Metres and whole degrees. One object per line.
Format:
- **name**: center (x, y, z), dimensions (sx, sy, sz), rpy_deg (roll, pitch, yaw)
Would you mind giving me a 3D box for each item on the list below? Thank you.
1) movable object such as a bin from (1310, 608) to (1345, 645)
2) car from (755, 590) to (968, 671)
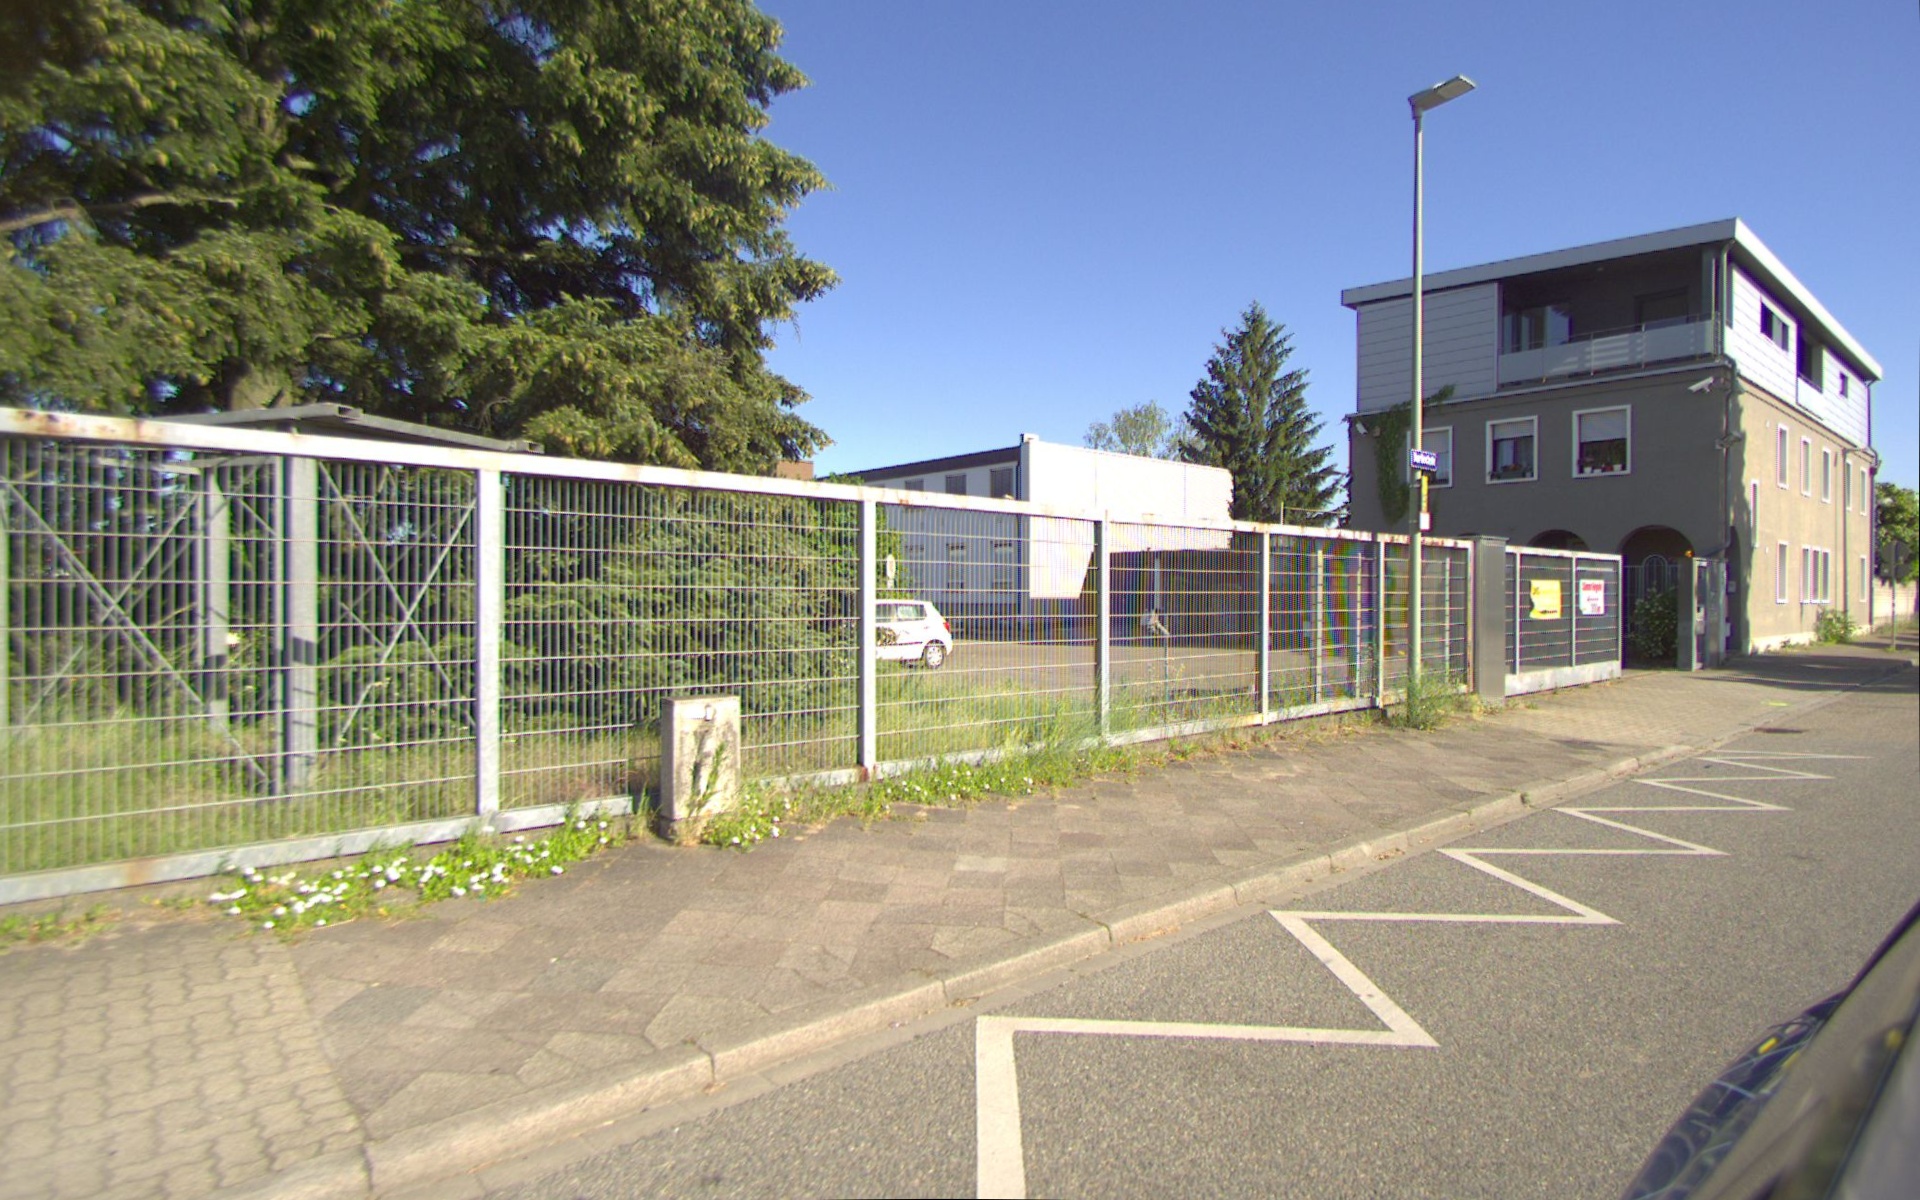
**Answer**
- **movable object such as a bin**: center (10.181, 0.722, 28.055), dimensions (0.736, 0.984, 0.616), rpy_deg (-2, 1, -40)
- **car**: center (-2.061, 0.576, 21.773), dimensions (4.214, 1.584, 1.869), rpy_deg (0, 0, -36)
